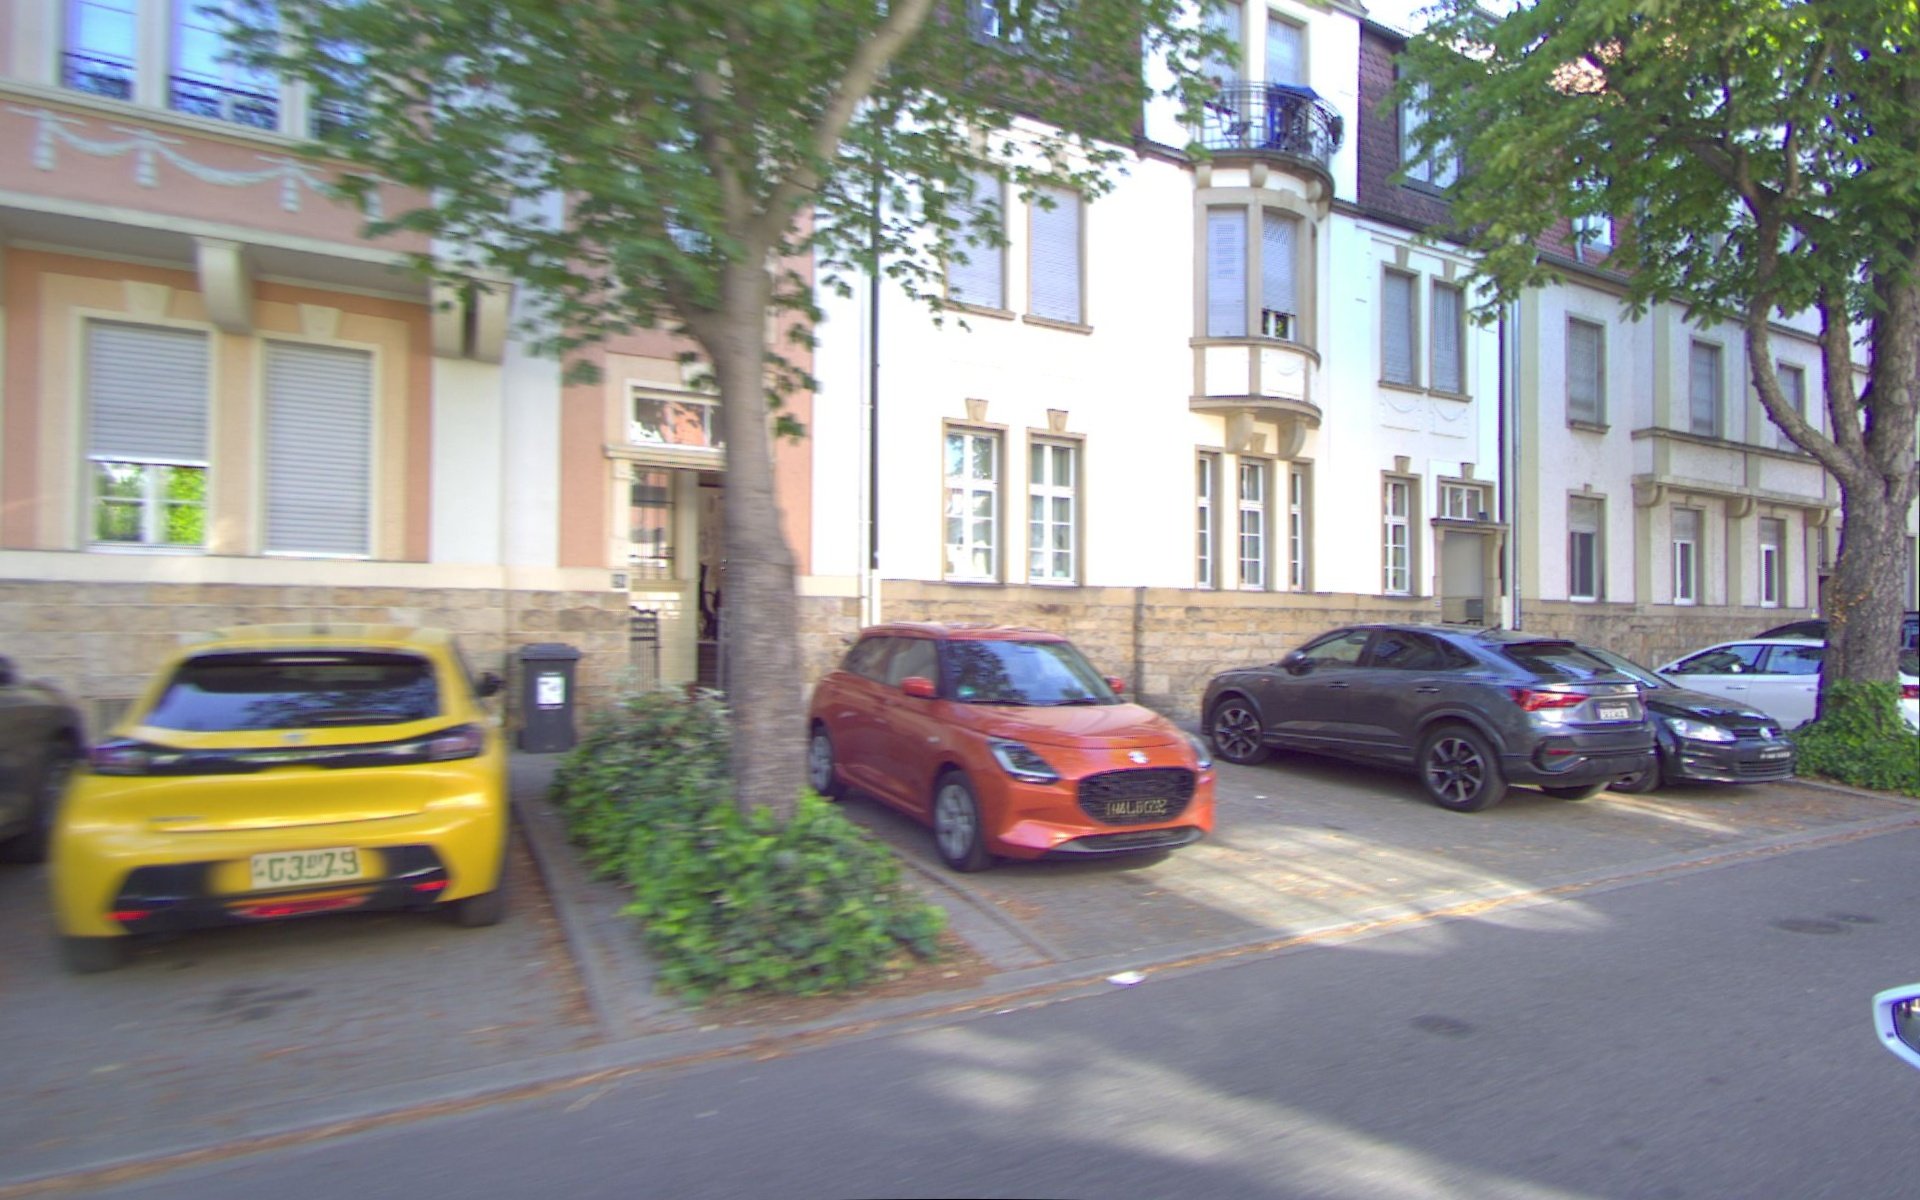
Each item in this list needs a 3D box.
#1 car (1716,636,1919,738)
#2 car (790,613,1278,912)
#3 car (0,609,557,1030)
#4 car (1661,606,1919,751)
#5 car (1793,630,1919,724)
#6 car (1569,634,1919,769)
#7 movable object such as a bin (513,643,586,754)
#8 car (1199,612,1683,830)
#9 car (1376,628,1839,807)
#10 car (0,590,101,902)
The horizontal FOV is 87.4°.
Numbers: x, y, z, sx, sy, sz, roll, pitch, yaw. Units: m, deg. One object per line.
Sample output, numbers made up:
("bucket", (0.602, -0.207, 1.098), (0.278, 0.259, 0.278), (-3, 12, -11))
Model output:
("car", (14.640, 1.337, 15.863), (1.807, 1.456, 3.961), (2, -2, -30))
("car", (0.222, 0.897, 7.391), (1.726, 1.534, 3.971), (2, -1, -28))
("car", (-3.459, 0.827, 5.719), (1.839, 1.481, 3.777), (2, -1, -27))
("car", (12.763, 1.060, 14.503), (1.807, 1.880, 3.962), (2, -1, -29))
("car", (16.978, 1.307, 16.659), (1.869, 1.523, 4.512), (2, -1, -29))
("car", (10.684, 1.230, 13.488), (1.723, 1.467, 3.966), (2, -1, -32))
("movable object such as a bin", (-4.148, 0.970, 10.135), (0.606, 1.049, 0.684), (1, -1, -28))
("car", (4.402, 0.966, 9.845), (1.836, 1.613, 3.970), (1, -1, -28))
("car", (6.725, 1.099, 10.943), (1.833, 1.465, 3.893), (1, -1, -23))
("car", (-5.451, 0.717, 4.223), (1.839, 1.587, 3.973), (2, -1, -27))
